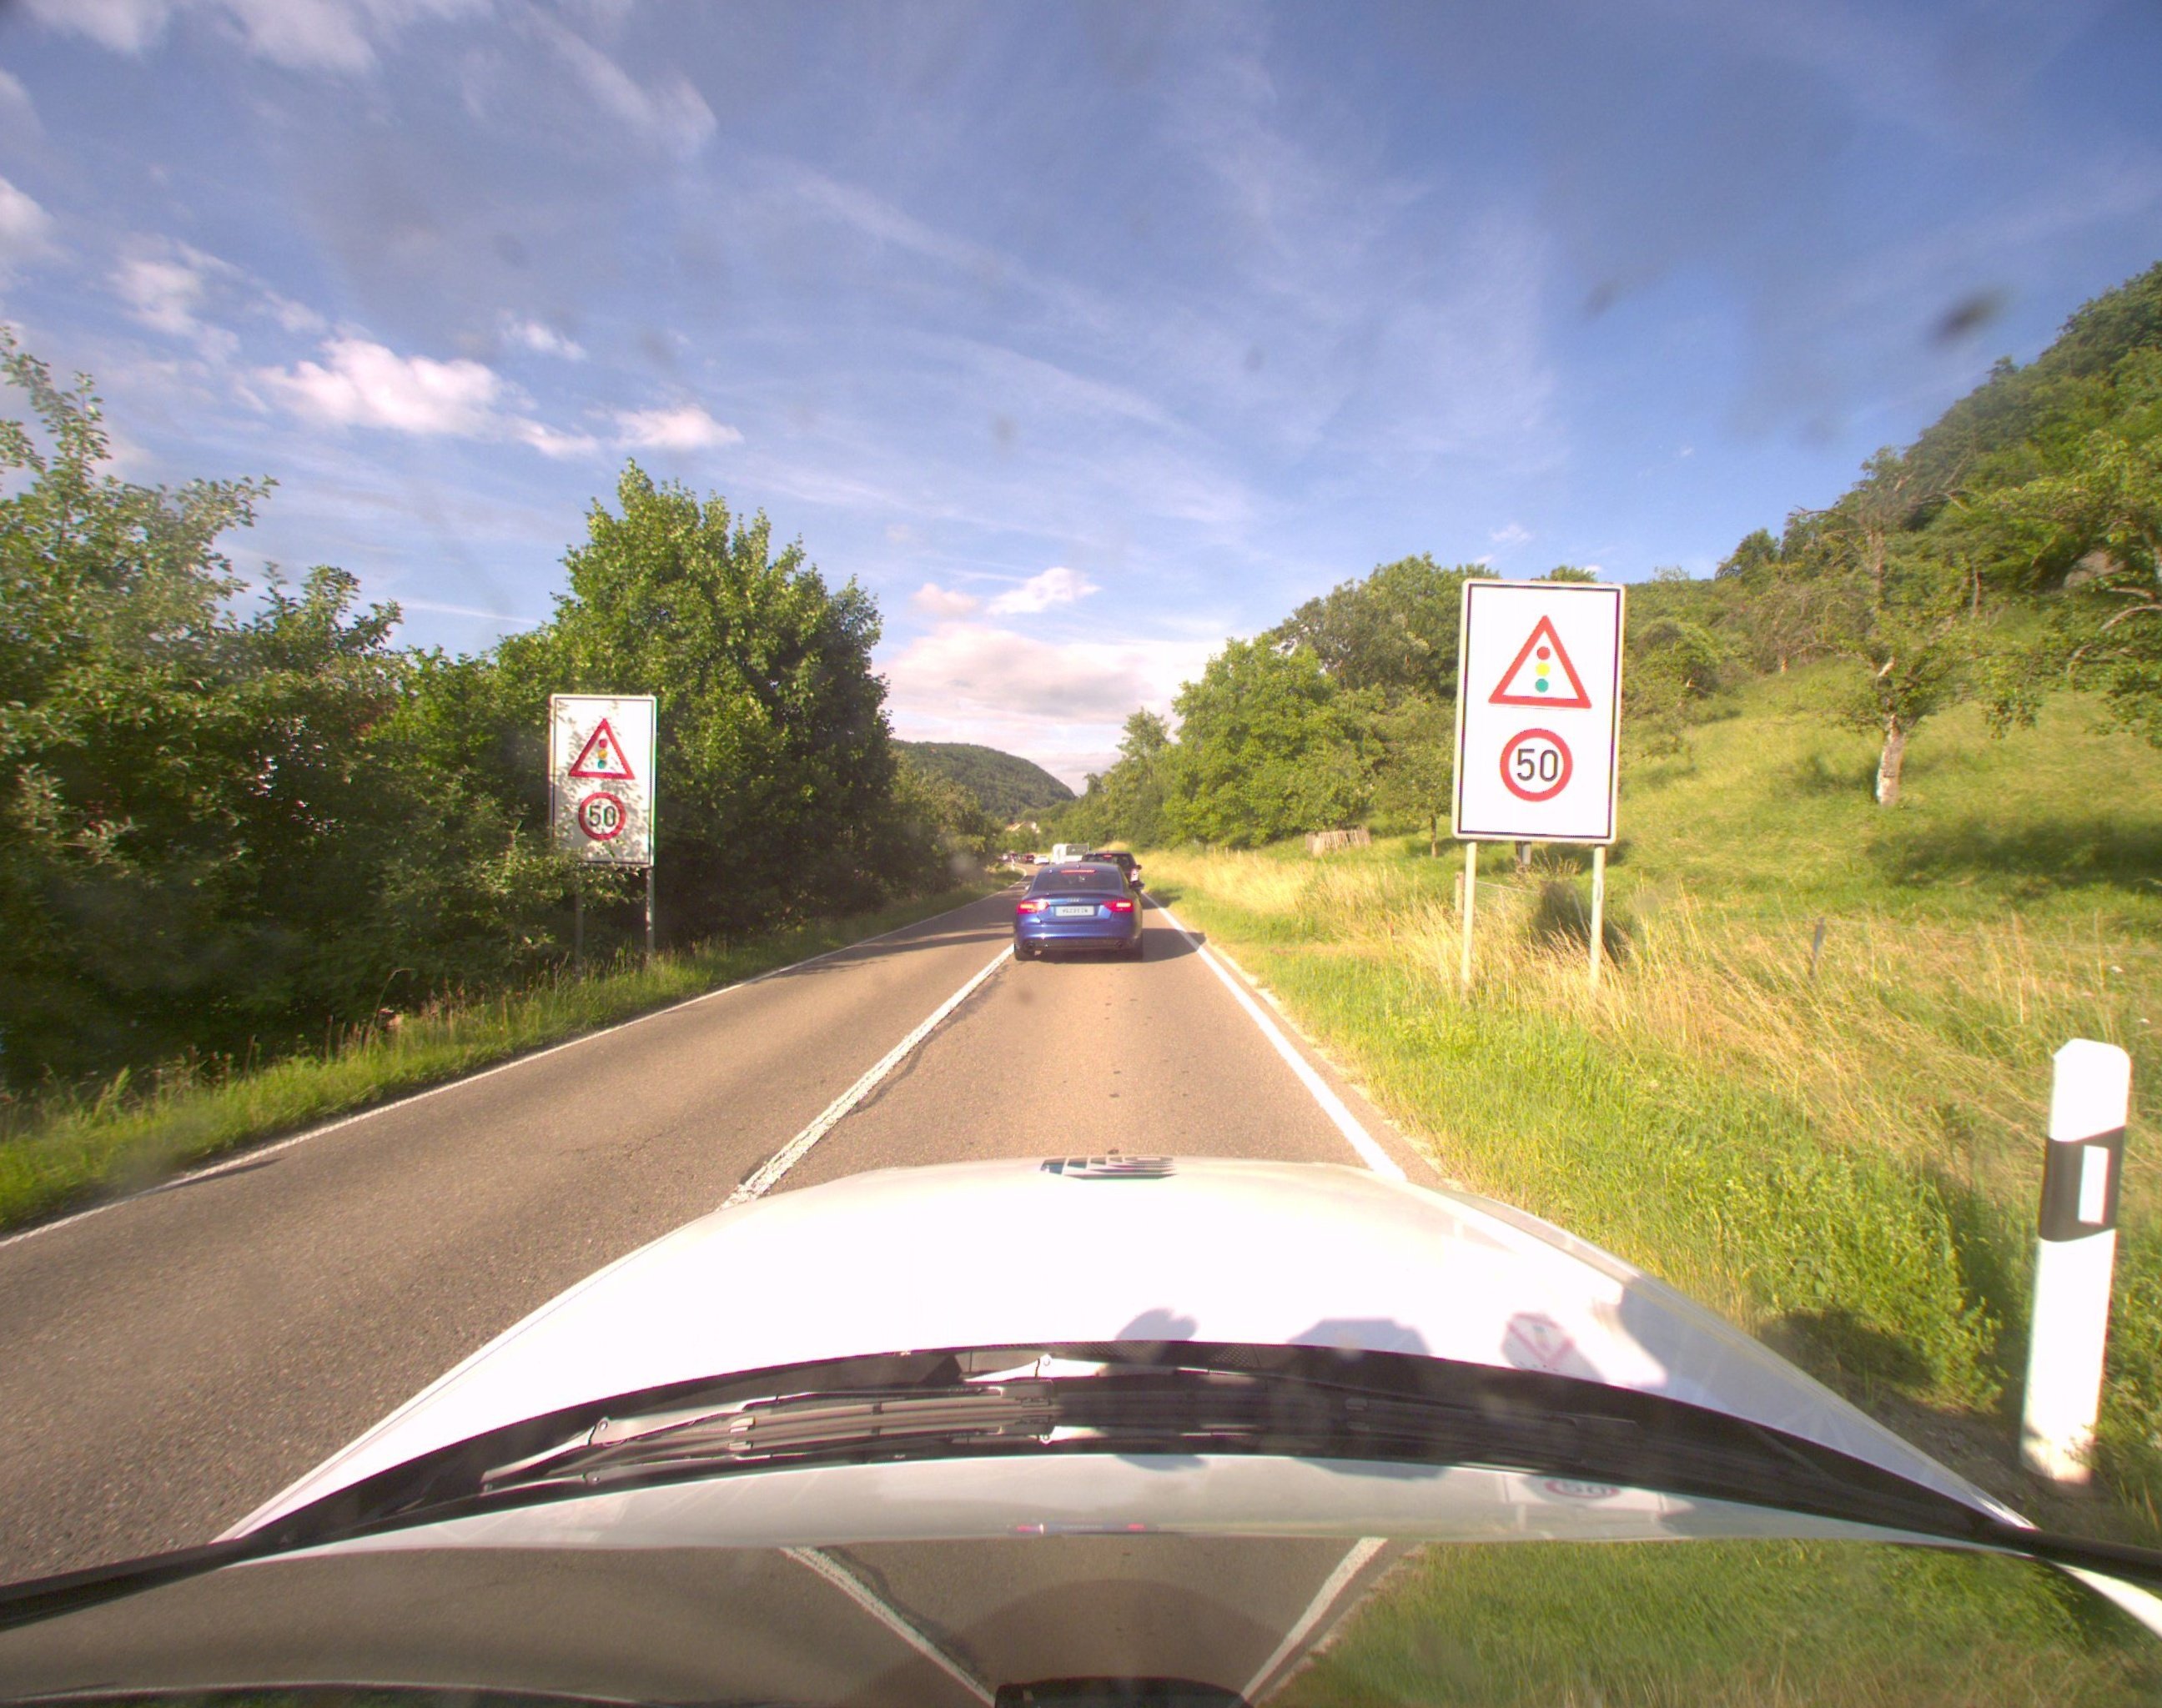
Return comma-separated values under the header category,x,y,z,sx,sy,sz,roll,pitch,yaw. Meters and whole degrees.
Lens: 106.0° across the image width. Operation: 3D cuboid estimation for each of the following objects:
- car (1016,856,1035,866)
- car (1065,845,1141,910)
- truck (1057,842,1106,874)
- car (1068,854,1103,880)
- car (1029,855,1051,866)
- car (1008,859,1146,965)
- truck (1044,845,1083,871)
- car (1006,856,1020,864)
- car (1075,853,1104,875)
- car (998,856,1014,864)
category,x,y,z,sx,sy,sz,roll,pitch,yaw
car,-8.453,1.081,123.609,1.999,1.482,3.975,0,-1,-18
car,0.650,0.631,23.373,1.986,1.702,4.002,-1,-1,2
truck,-0.115,0.332,73.936,2.863,2.665,10.361,0,0,-9
car,0.320,0.763,48.920,1.986,1.482,4.002,-1,-1,2
car,-5.637,0.940,112.187,1.999,1.482,3.975,0,-1,-18
car,0.045,0.776,12.590,1.786,1.360,4.003,-1,-1,3
truck,-2.026,0.403,88.015,2.863,2.665,10.612,0,0,-9
car,-12.298,1.132,147.204,1.997,1.482,3.980,0,-1,-14
car,0.624,0.727,58.678,1.986,1.482,4.002,-1,-1,2
car,-14.383,1.229,155.685,2.000,1.482,3.972,0,-1,-20
